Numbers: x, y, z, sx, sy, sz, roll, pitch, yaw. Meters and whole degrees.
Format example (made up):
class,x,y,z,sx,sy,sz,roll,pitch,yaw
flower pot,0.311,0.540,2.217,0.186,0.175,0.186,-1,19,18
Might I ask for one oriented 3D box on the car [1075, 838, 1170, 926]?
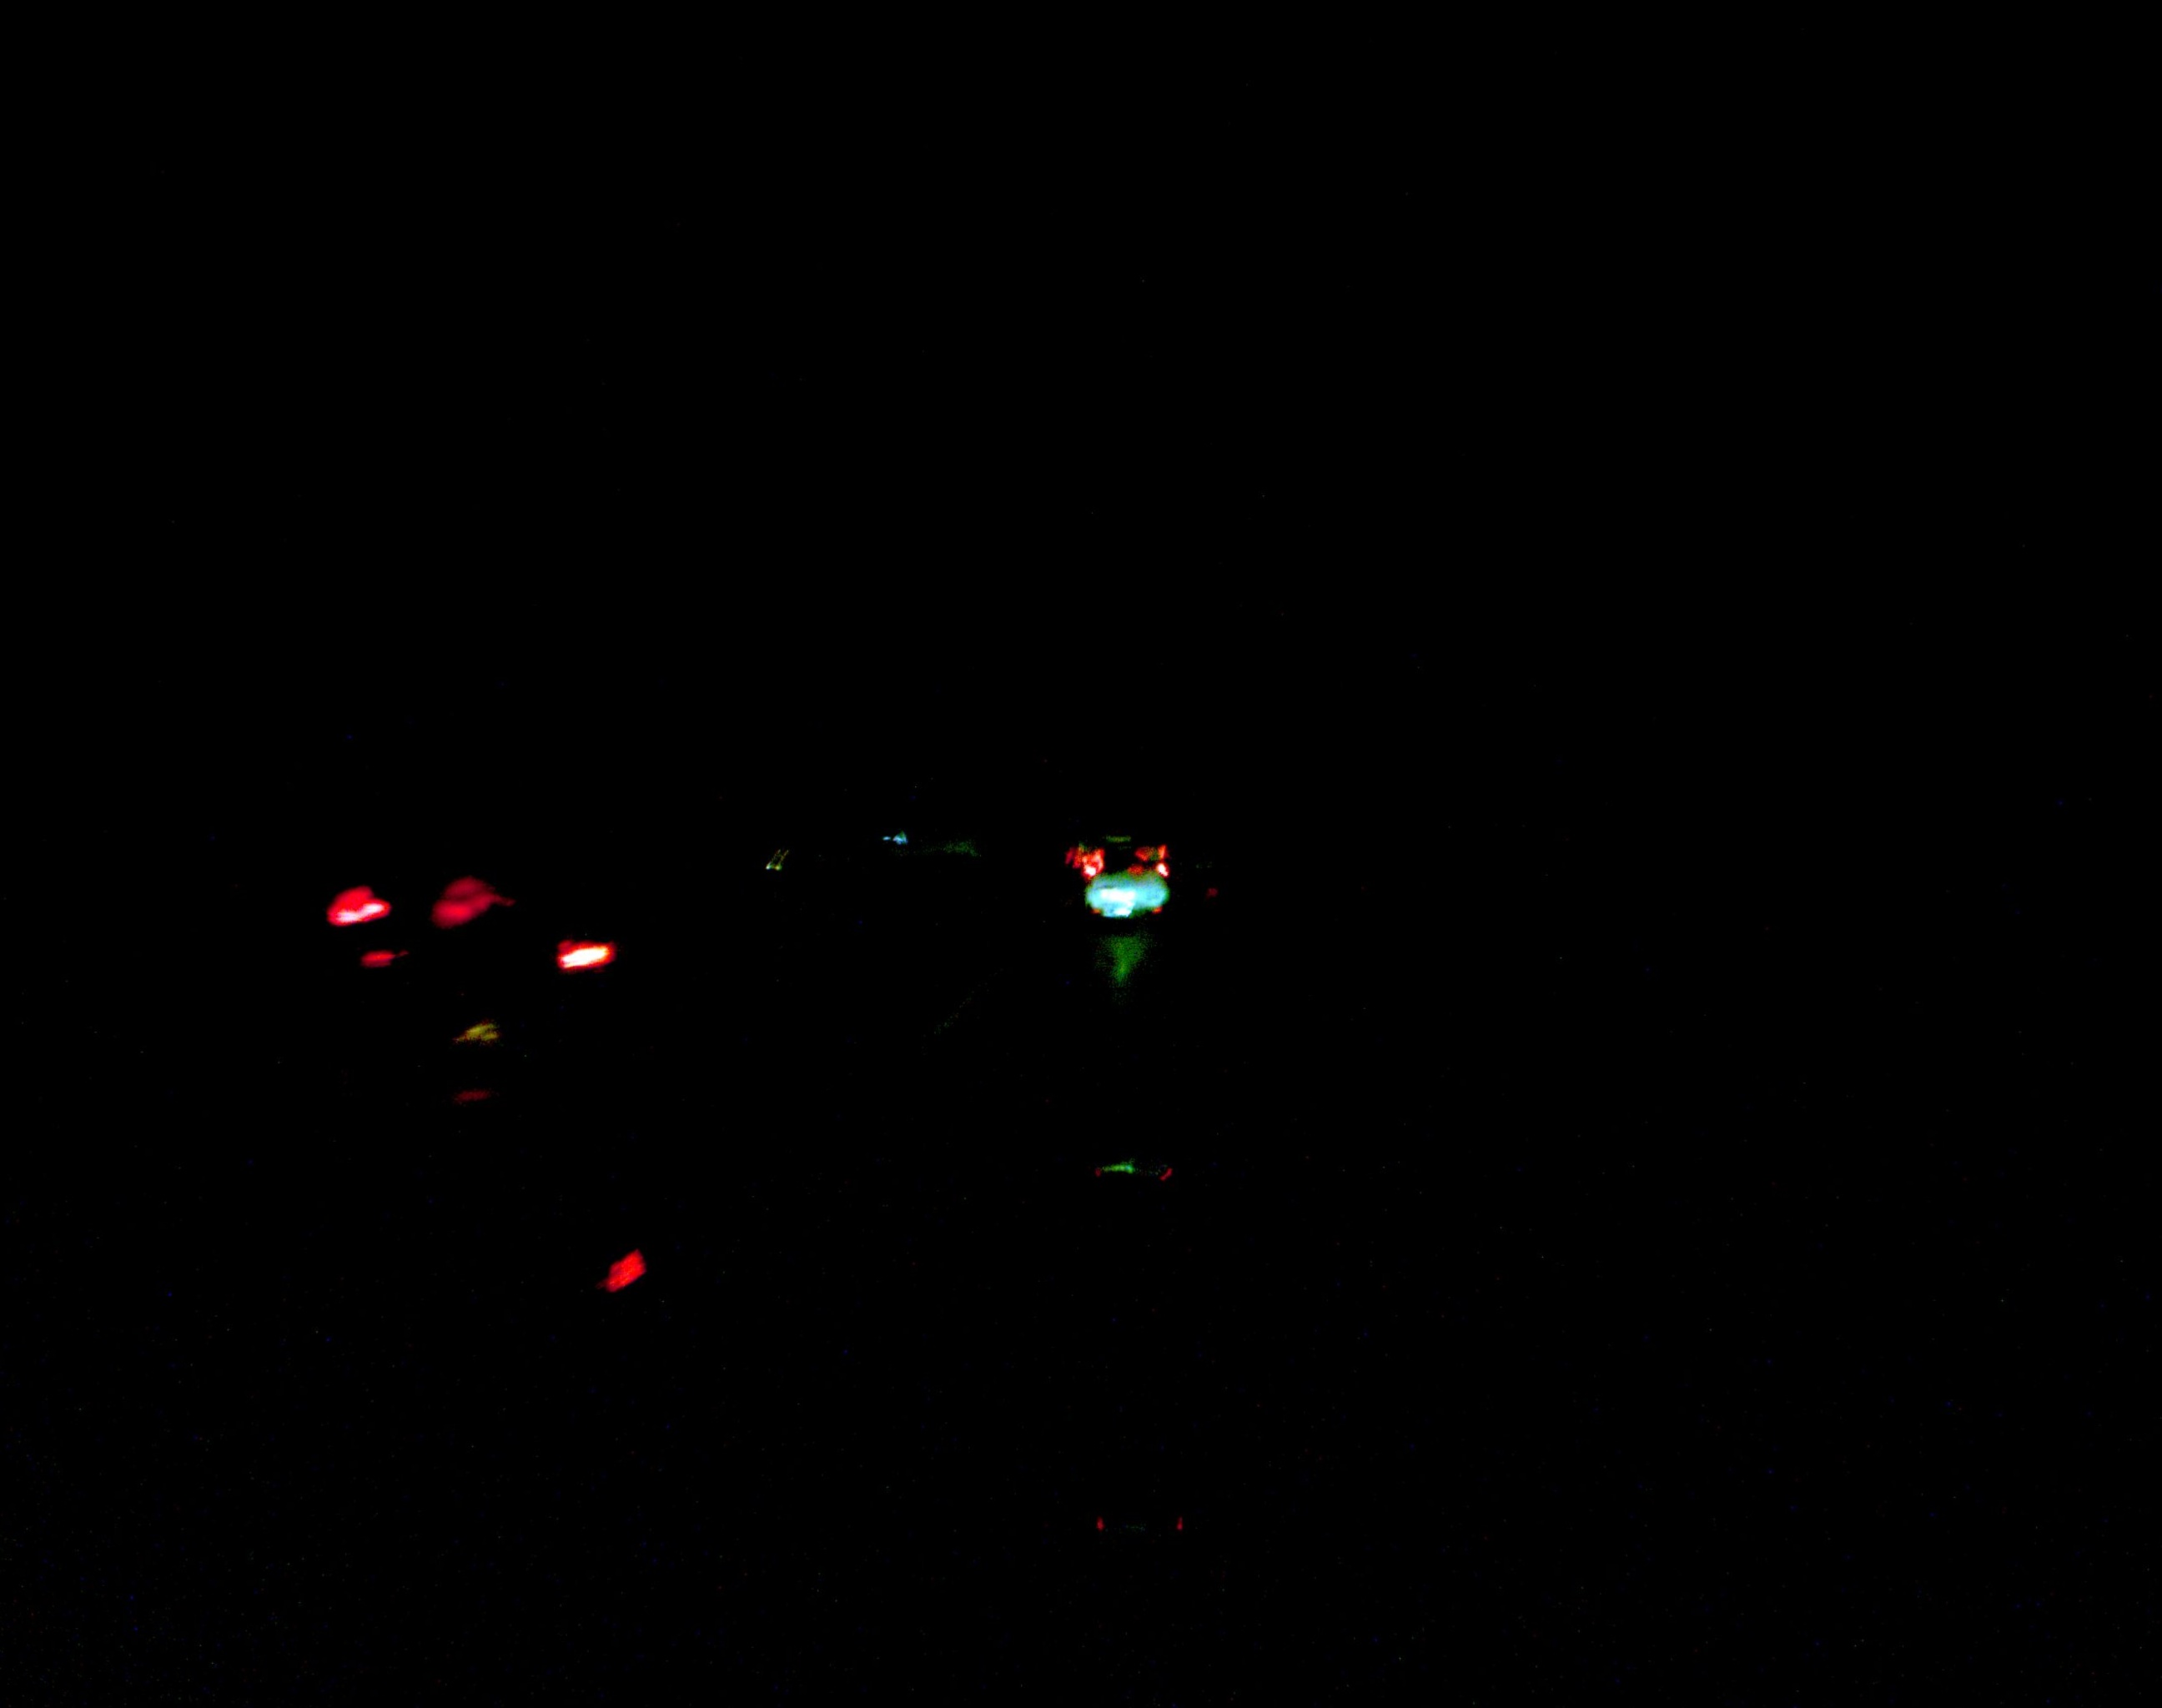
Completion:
class,x,y,z,sx,sy,sz,roll,pitch,yaw
car,0.936,0.600,19.303,1.946,1.792,5.125,0,-1,2

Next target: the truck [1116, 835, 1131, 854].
class,x,y,z,sx,sy,sz,roll,pitch,yaw
truck,11.478,-2.423,221.137,3.810,4.915,11.609,0,-1,2

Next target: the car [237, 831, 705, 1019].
class,x,y,z,sx,sy,sz,roll,pitch,yaw
car,-6.924,0.694,10.171,1.985,1.777,4.890,0,-1,2

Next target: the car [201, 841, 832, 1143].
class,x,y,z,sx,sy,sz,roll,pitch,yaw
car,-3.674,0.759,6.464,1.908,1.594,4.236,-1,-1,3

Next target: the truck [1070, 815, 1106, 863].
class,x,y,z,sx,sy,sz,roll,pitch,yaw
truck,0.990,-1.715,100.883,4.152,5.544,13.078,0,-1,2
